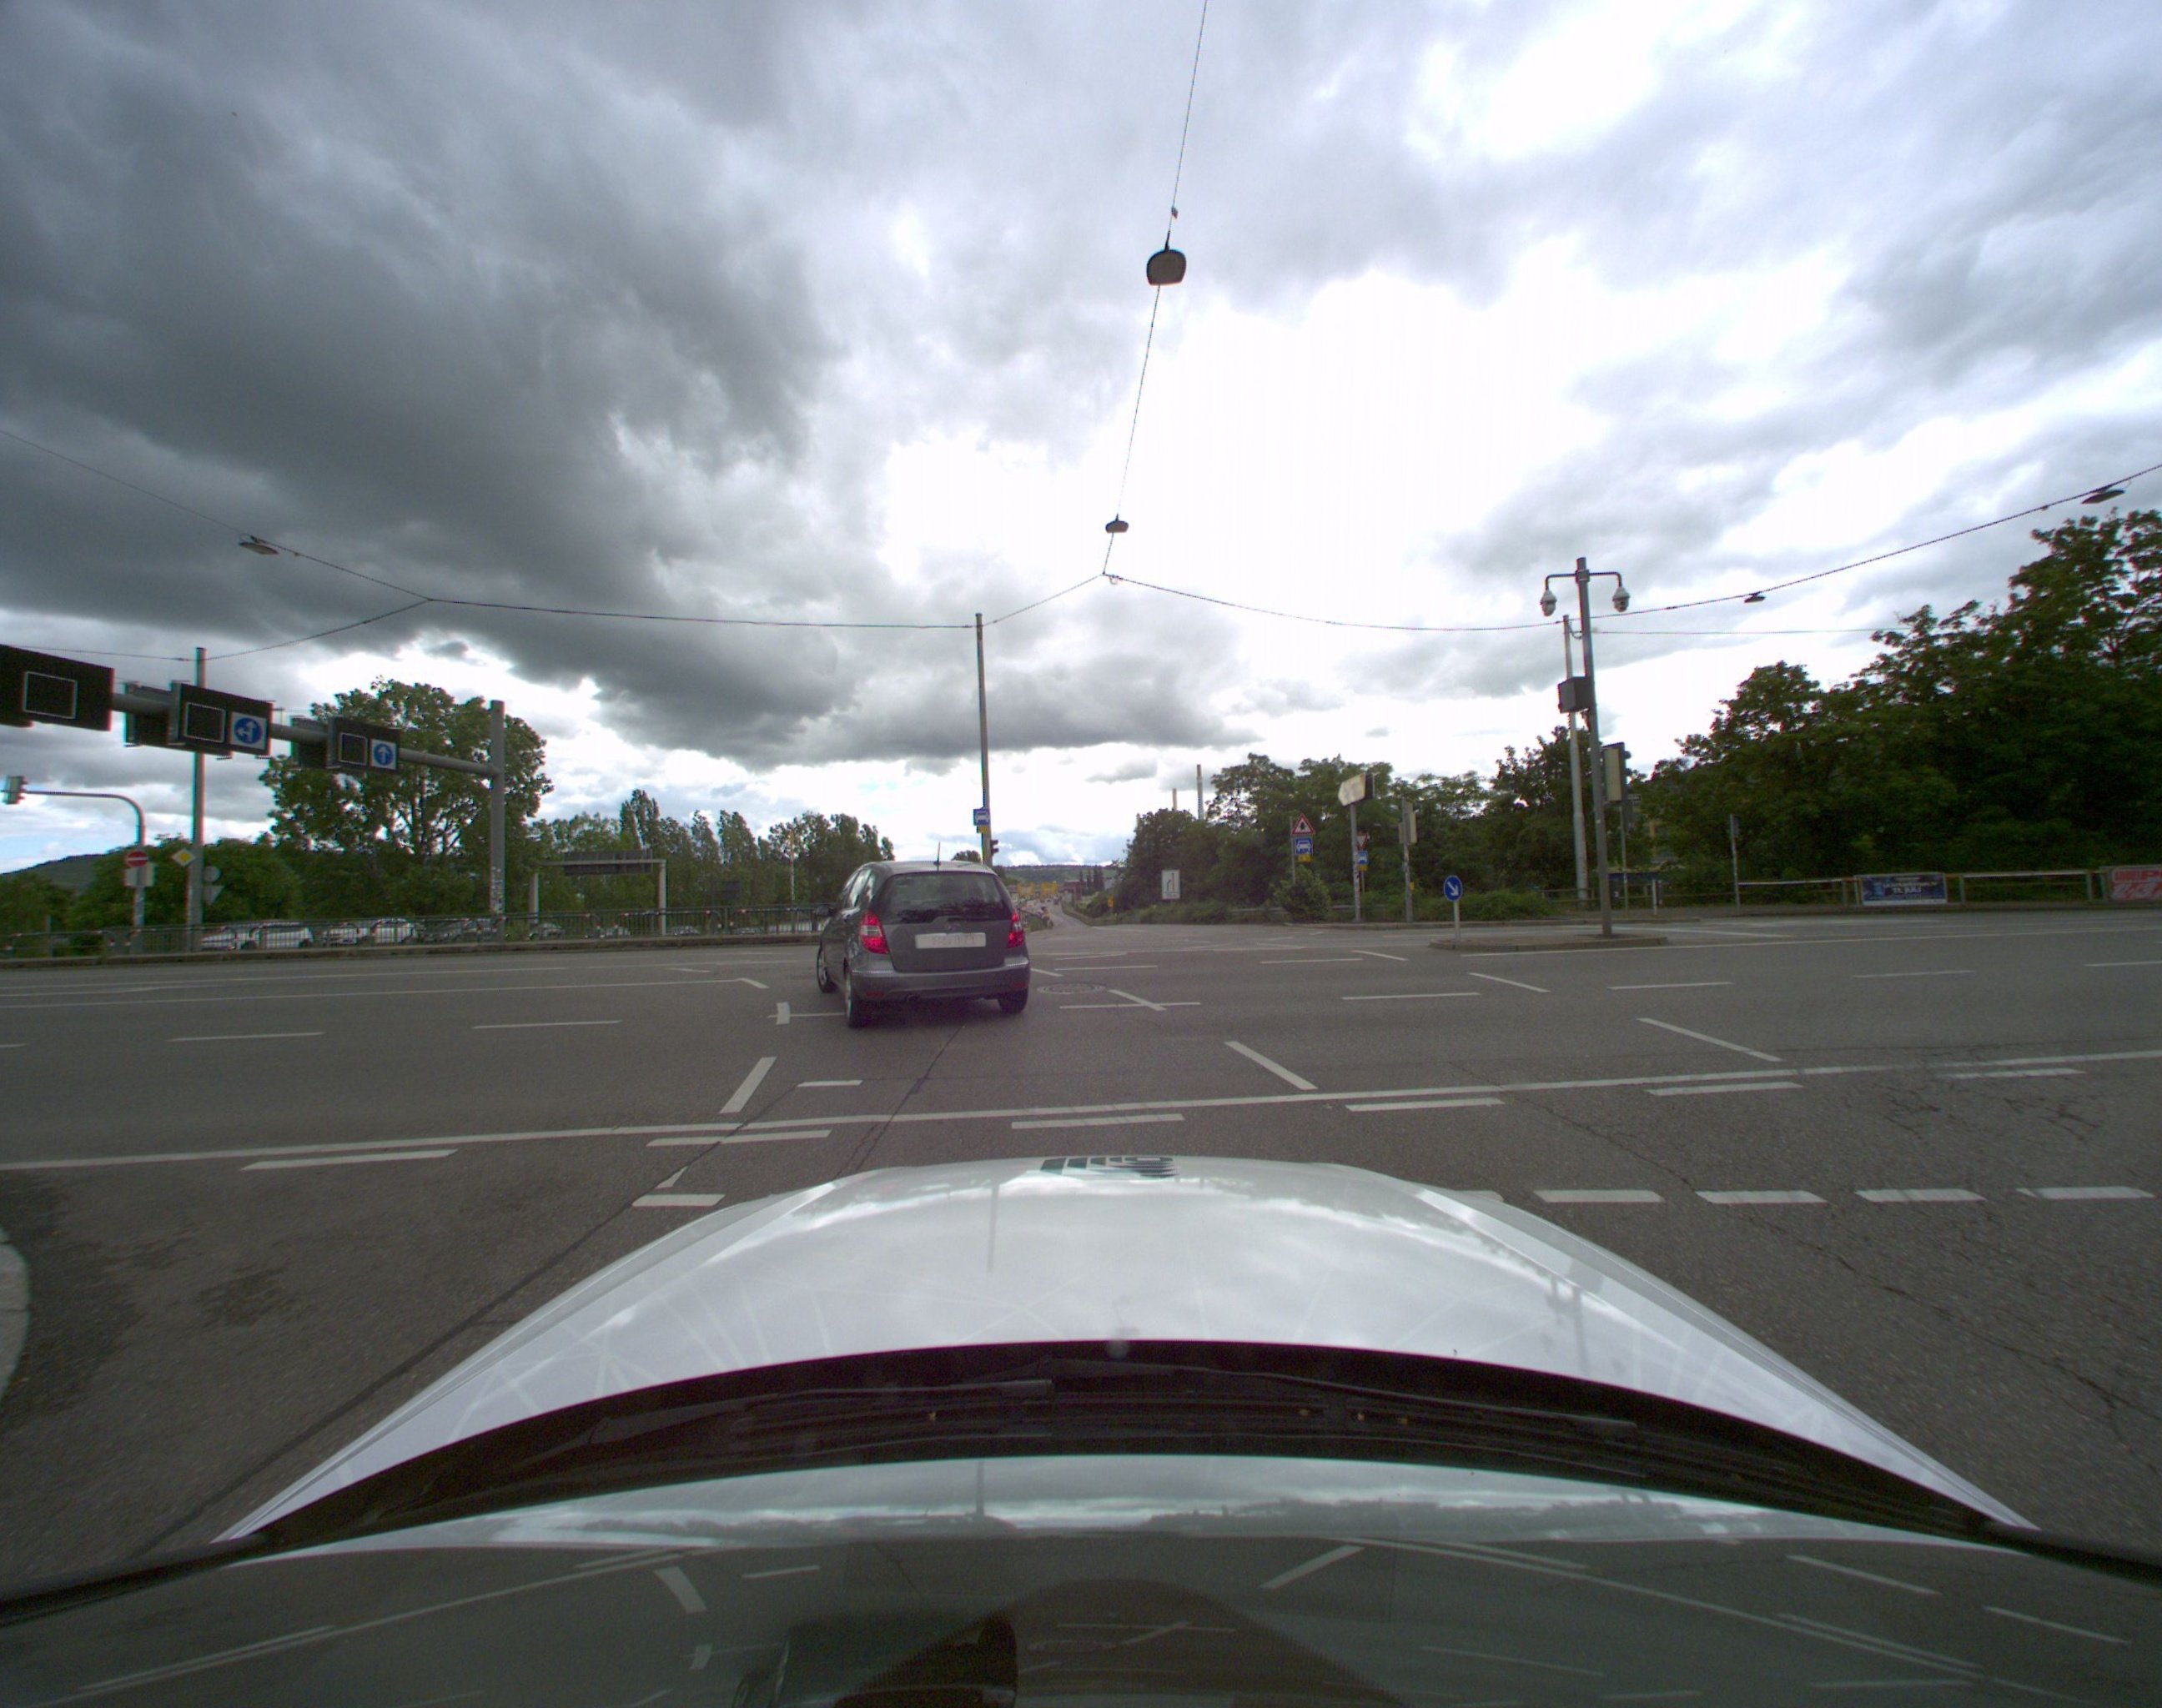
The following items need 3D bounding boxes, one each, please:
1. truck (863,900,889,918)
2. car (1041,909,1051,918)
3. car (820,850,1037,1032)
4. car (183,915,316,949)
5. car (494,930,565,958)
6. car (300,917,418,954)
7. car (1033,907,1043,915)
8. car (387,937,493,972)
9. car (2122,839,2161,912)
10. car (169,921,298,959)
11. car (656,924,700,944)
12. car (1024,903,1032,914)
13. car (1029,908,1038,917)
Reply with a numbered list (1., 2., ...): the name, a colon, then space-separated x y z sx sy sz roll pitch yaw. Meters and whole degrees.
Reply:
1. truck: -42.092 11.236 167.432 2.764 3.510 9.256 -2 -3 1
2. car: -7.052 11.974 164.320 1.990 1.737 3.990 -3 -4 -4
3. car: -1.926 0.820 9.209 1.752 1.551 3.843 -1 -2 -21
4. car: -35.770 3.335 35.190 1.778 1.313 3.765 -3 -4 1
5. car: -36.458 5.911 53.948 1.987 1.618 3.998 -3 -4 0
6. car: -36.132 4.036 40.921 1.987 1.620 4.341 -3 -4 1
7. car: -11.597 15.253 217.225 2.526 1.902 4.874 -3 -4 -4
8. car: -35.979 5.612 45.934 1.987 1.620 4.961 -3 -4 0
9. car: 23.070 0.277 15.212 4.418 1.420 1.936 -3 -3 4
10. car: -38.556 3.883 37.203 1.685 1.540 4.005 -3 -4 -1
11. car: -36.630 7.299 74.131 1.987 1.618 3.998 -3 -4 0
12. car: -13.362 13.774 206.378 1.989 2.623 5.390 -3 -4 -4
13. car: -11.012 13.676 190.579 1.990 2.014 3.993 -3 -4 -4
